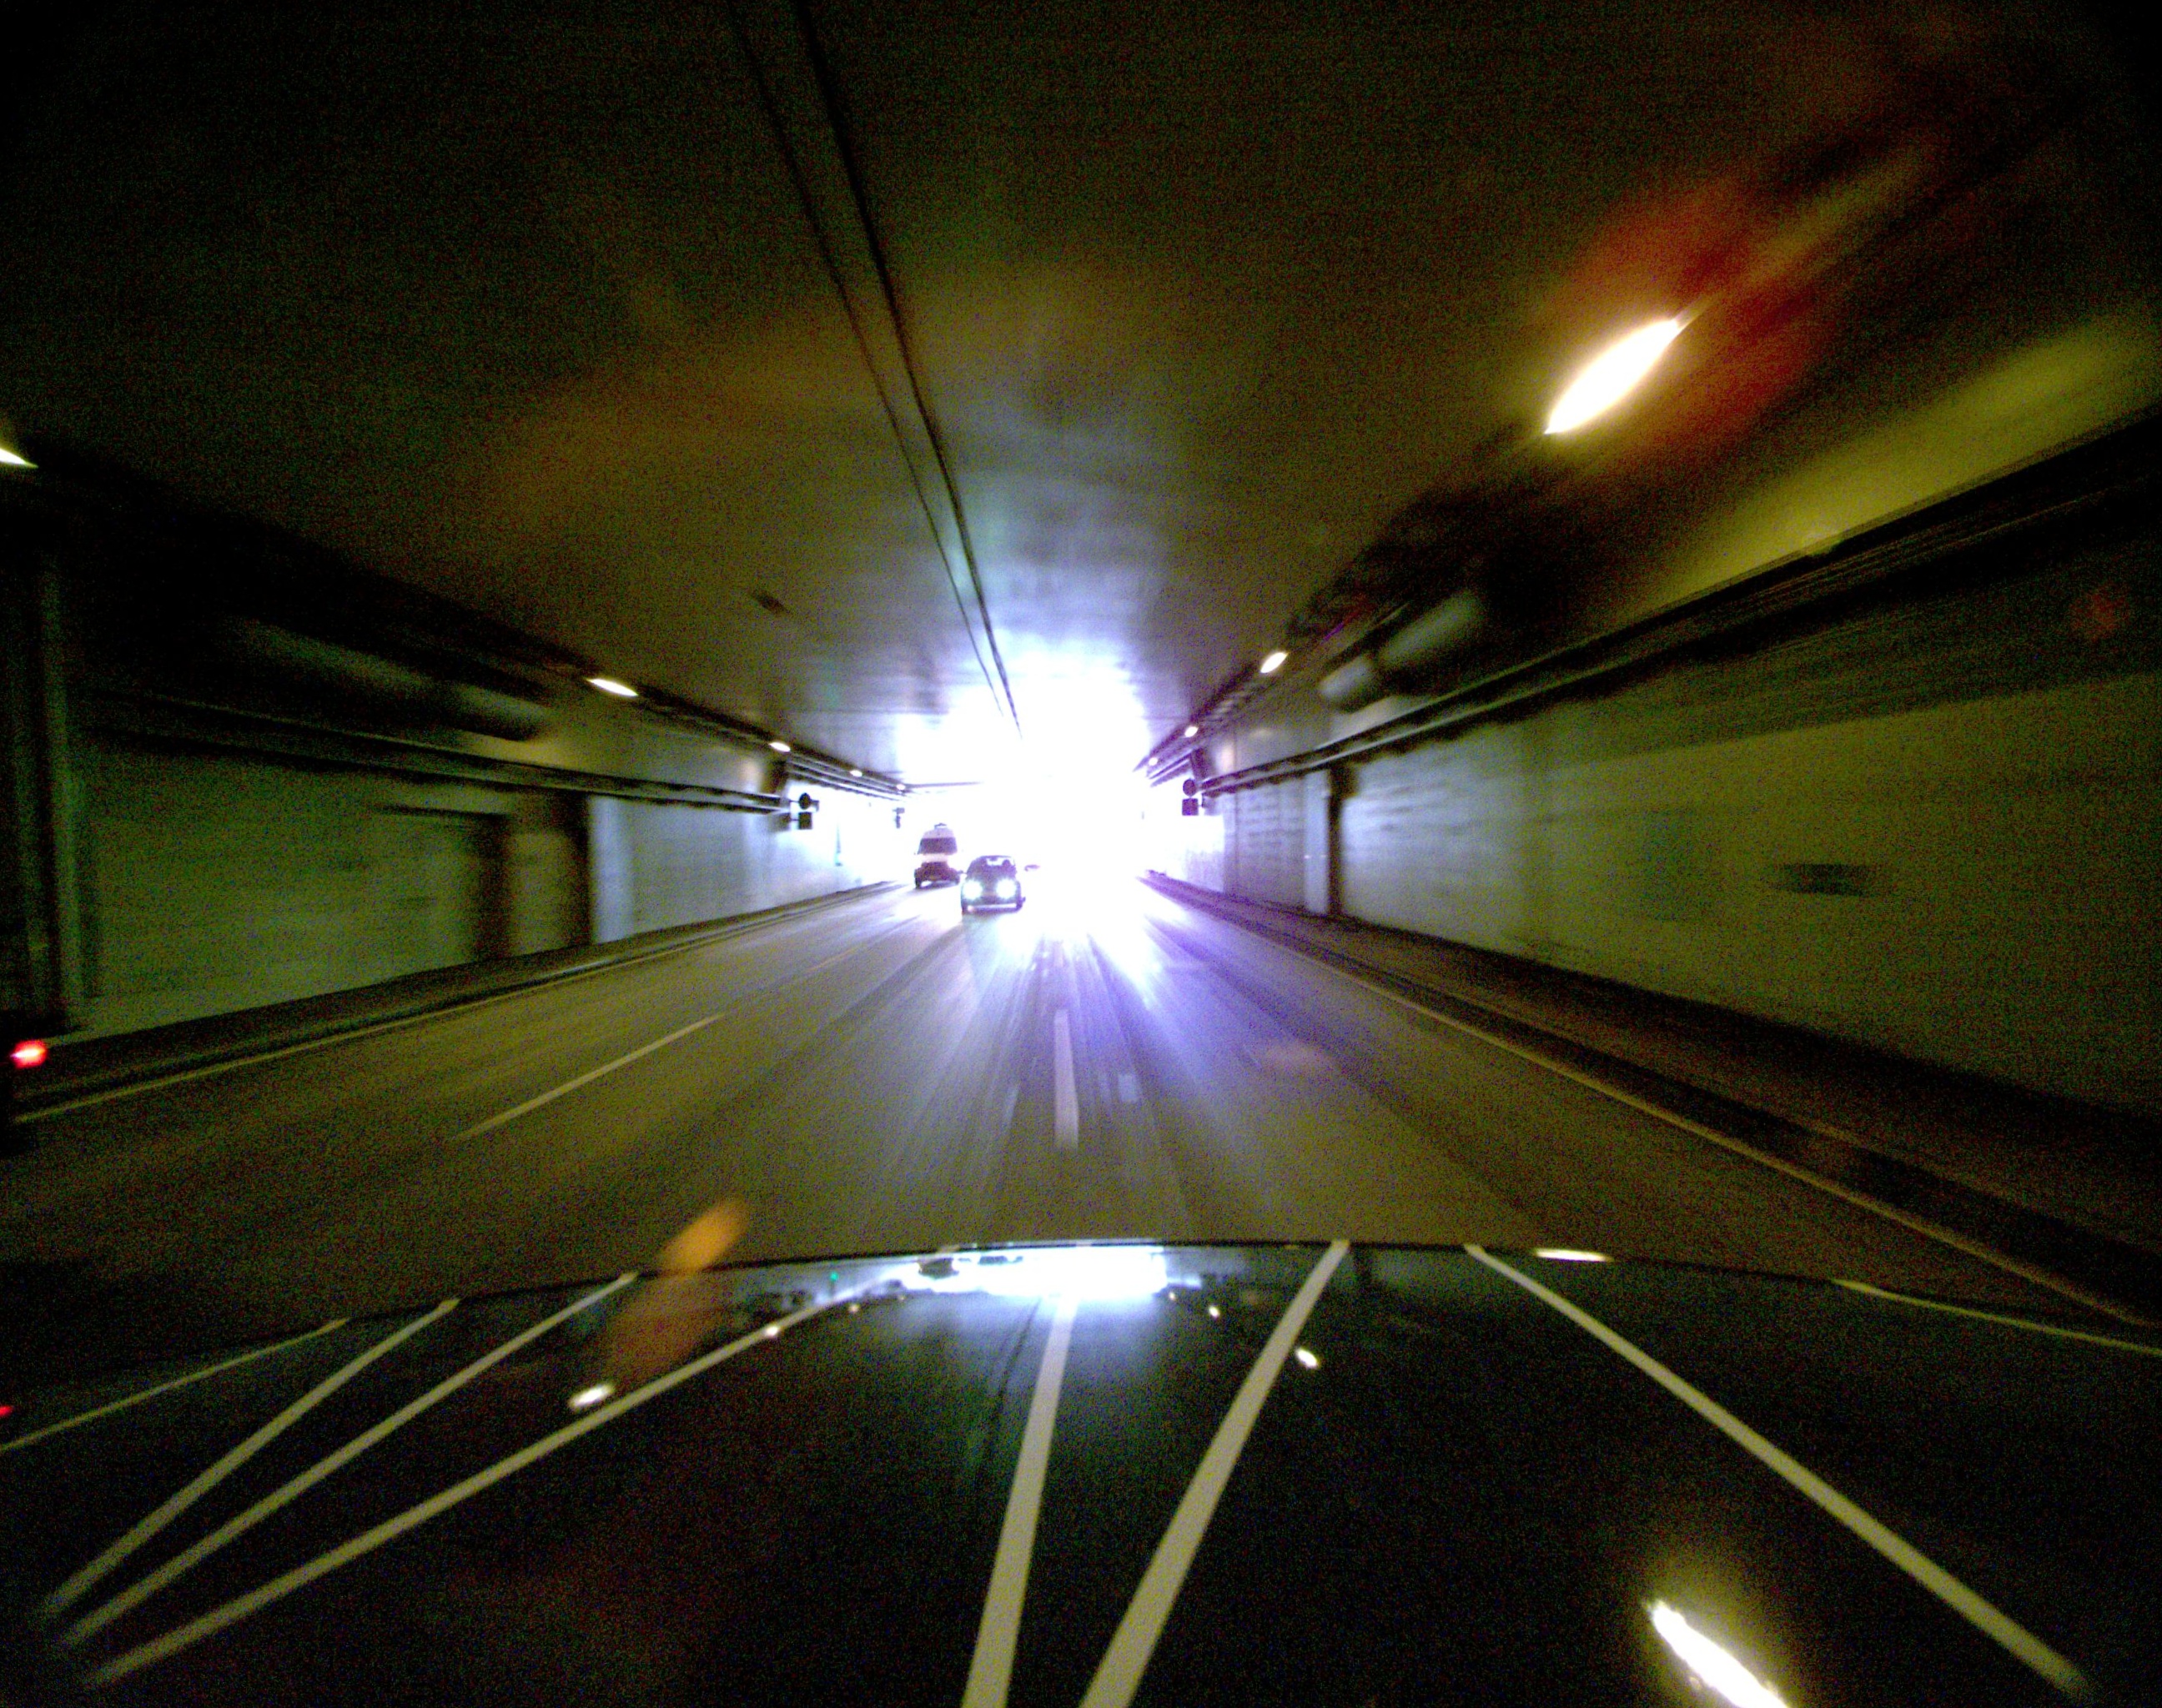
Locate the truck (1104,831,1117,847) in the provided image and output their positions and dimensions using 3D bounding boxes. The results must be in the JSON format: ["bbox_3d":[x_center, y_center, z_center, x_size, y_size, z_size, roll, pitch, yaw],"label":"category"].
[{"bbox_3d":[5.349,-2.811,139.284,2.138,2.713,5.669,-3,3,0],"label":"truck"}]

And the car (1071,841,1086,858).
[{"bbox_3d":[-0.291,-0.509,85.879,1.639,1.662,3.714,-3,3,0],"label":"car"}]

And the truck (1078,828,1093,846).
[{"bbox_3d":[0.916,-3.161,138.411,2.494,3.121,6.374,-3,3,1],"label":"truck"}]

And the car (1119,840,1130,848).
[{"bbox_3d":[9.071,-2.027,158.245,1.950,1.524,4.000,-3,-1,0],"label":"car"}]

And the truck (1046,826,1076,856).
[{"bbox_3d":[-1.777,-1.230,68.874,2.073,2.526,6.022,-2,2,3],"label":"truck"}]

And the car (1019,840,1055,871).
[{"bbox_3d":[-2.513,0.079,43.992,1.764,1.552,3.817,-5,1,-1],"label":"car"}]

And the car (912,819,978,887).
[{"bbox_3d":[-6.191,-0.108,35.419,2.107,2.831,6.857,-1,1,-3],"label":"car"}]

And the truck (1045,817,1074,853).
[{"bbox_3d":[-2.763,-2.666,101.343,2.886,4.448,10.450,-3,2,2],"label":"truck"}]

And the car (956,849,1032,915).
[{"bbox_3d":[-2.356,0.714,21.405,1.639,1.552,3.715,-3,1,0],"label":"car"}]

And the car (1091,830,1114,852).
[{"bbox_3d":[1.990,-1.273,71.732,1.935,1.919,4.195,-3,2,0],"label":"car"}]

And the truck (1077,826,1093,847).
[{"bbox_3d":[0.662,-2.998,127.304,2.494,3.370,6.373,-3,3,0],"label":"truck"}]
